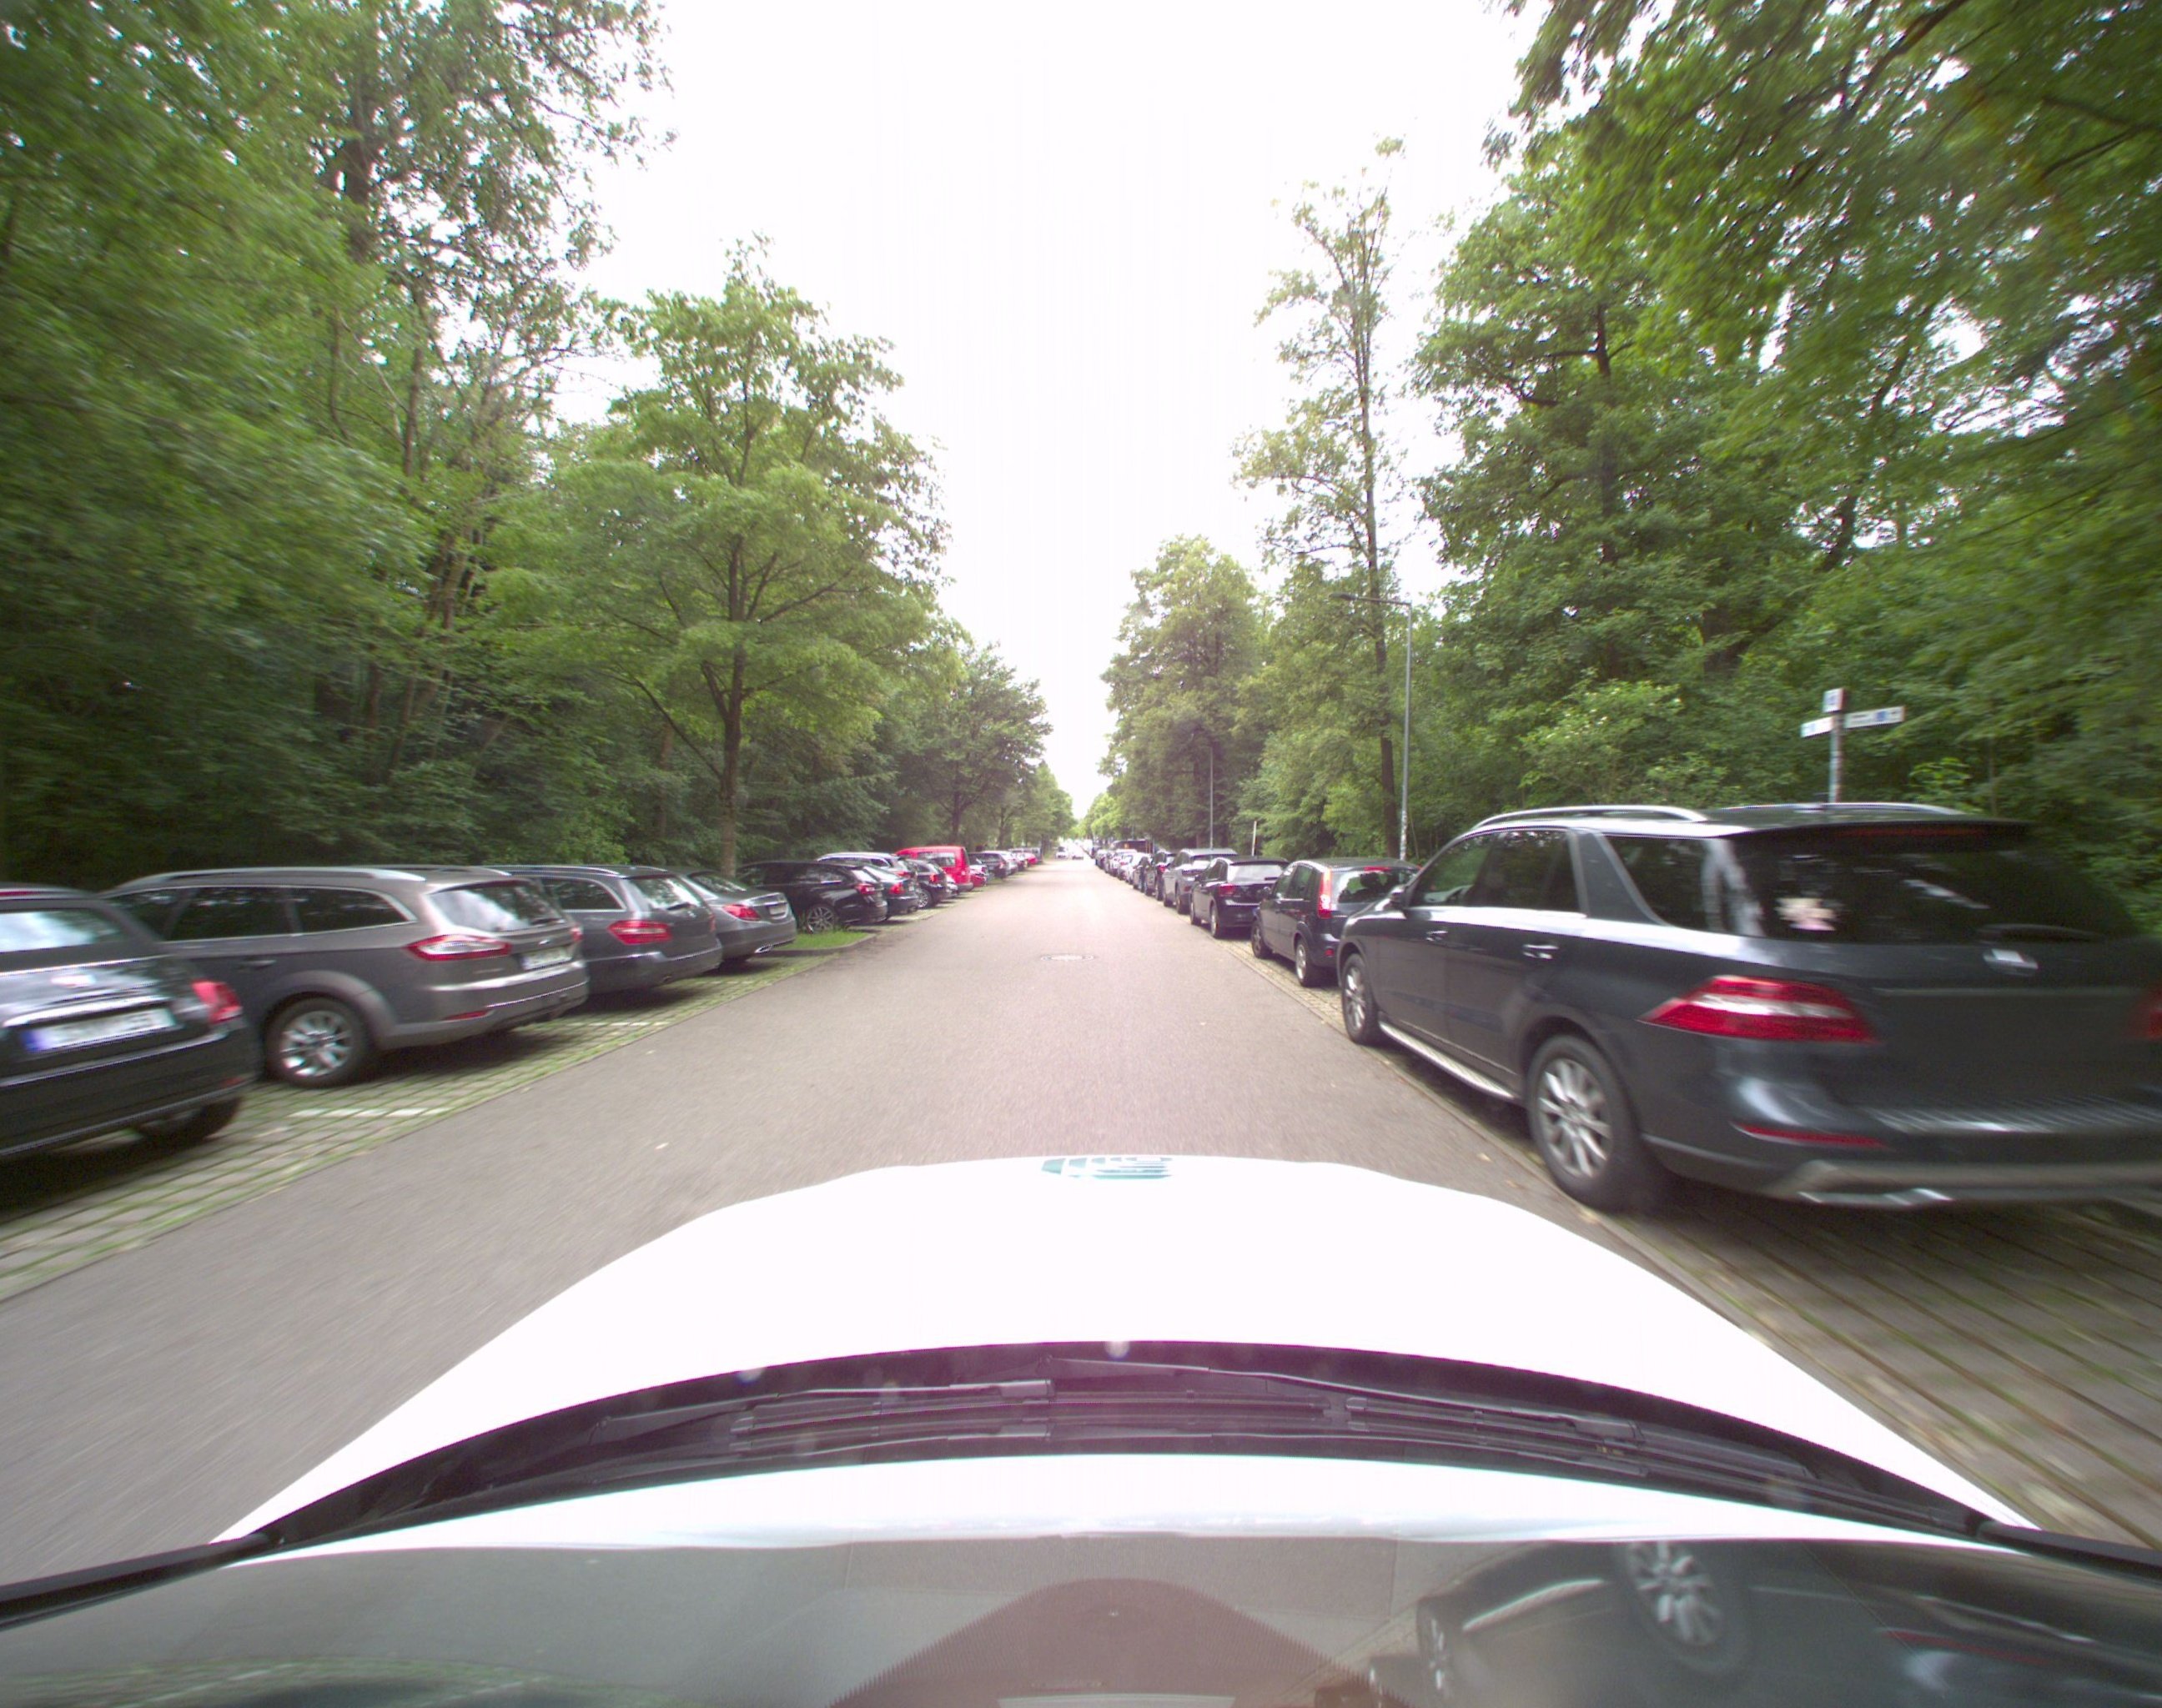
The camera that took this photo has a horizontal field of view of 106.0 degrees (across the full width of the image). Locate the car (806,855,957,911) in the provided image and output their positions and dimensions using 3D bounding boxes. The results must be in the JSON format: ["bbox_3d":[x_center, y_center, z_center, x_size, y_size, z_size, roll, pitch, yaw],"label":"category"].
[{"bbox_3d":[-5.751,0.808,23.891,3.980,1.530,1.997,-1,0,-5],"label":"car"}]

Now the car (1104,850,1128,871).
[{"bbox_3d":[2.658,0.473,63.162,1.705,1.509,4.000,0,0,0],"label":"car"}]

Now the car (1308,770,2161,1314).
[{"bbox_3d":[3.040,0.588,5.108,1.883,1.747,4.948,0,0,0],"label":"car"}]

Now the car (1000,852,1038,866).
[{"bbox_3d":[-6.155,0.463,81.157,3.580,1.361,1.820,-1,0,-13],"label":"car"}]

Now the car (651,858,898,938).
[{"bbox_3d":[-5.997,0.830,16.376,4.288,1.449,1.754,-1,0,-5],"label":"car"}]

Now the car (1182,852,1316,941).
[{"bbox_3d":[3.081,0.701,15.729,1.632,1.477,4.148,0,0,-2],"label":"car"}]

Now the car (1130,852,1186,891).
[{"bbox_3d":[2.990,0.649,32.159,1.662,1.444,3.810,0,0,-3],"label":"car"}]

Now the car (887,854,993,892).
[{"bbox_3d":[-5.778,0.776,33.731,3.974,1.474,2.115,-1,0,0],"label":"car"}]

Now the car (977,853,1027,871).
[{"bbox_3d":[-6.481,0.638,66.592,3.983,1.382,1.995,-1,0,-7],"label":"car"}]

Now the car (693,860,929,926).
[{"bbox_3d":[-6.057,0.853,18.726,4.718,1.343,1.986,-1,0,-2],"label":"car"}]

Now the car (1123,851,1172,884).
[{"bbox_3d":[3.148,0.618,39.243,1.931,1.475,3.990,0,0,-1],"label":"car"}]

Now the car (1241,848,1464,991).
[{"bbox_3d":[3.284,0.679,10.688,1.593,1.504,4.090,0,0,0],"label":"car"}]

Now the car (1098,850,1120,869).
[{"bbox_3d":[2.393,0.466,70.379,1.914,1.520,3.887,0,0,1],"label":"car"}]

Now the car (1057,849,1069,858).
[{"bbox_3d":[-2.707,-0.074,122.906,1.732,1.161,3.413,1,3,2],"label":"car"}]

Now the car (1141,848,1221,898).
[{"bbox_3d":[3.245,0.569,27.220,1.974,1.537,4.161,0,0,-3],"label":"car"}]

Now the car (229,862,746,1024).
[{"bbox_3d":[-6.121,0.863,8.852,4.097,1.480,1.996,-1,0,-1],"label":"car"}]

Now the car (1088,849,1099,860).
[{"bbox_3d":[1.865,0.068,125.325,1.623,1.415,3.410,0,3,-1],"label":"car"}]

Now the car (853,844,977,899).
[{"bbox_3d":[-5.801,0.599,28.882,3.978,1.816,2.113,-1,0,-3],"label":"car"}]

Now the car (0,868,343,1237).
[{"bbox_3d":[-6.614,0.835,3.973,4.384,1.488,1.838,0,0,2],"label":"car"}]

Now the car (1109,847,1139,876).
[{"bbox_3d":[2.668,0.436,50.924,1.705,1.728,4.000,0,0,0],"label":"car"}]

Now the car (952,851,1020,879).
[{"bbox_3d":[-5.907,0.664,50.939,3.973,1.640,1.735,-1,0,0],"label":"car"}]

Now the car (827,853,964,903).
[{"bbox_3d":[-5.911,0.745,26.335,3.975,1.530,1.999,-1,0,-1],"label":"car"}]

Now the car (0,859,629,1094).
[{"bbox_3d":[-6.212,0.834,6.494,4.079,1.523,1.928,-1,0,-3],"label":"car"}]

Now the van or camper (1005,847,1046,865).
[{"bbox_3d":[-6.329,0.208,92.734,4.481,1.868,1.910,0,3,-15],"label":"van or camper"}]

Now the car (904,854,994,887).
[{"bbox_3d":[-6.239,0.758,38.823,3.973,1.474,1.847,-1,0,0],"label":"car"}]

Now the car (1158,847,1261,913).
[{"bbox_3d":[3.258,0.603,21.583,1.972,1.537,4.620,0,0,0],"label":"car"}]

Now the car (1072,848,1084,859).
[{"bbox_3d":[-0.497,-0.041,119.312,1.686,1.415,3.153,0,3,-1],"label":"car"}]

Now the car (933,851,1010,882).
[{"bbox_3d":[-5.818,0.656,43.666,3.820,1.536,1.871,-1,0,0],"label":"car"}]

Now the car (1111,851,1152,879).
[{"bbox_3d":[2.749,0.571,45.239,1.719,1.494,3.767,0,0,-5],"label":"car"}]

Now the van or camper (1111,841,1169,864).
[{"bbox_3d":[7.992,-0.236,110.278,7.336,2.888,2.637,0,3,-15],"label":"van or camper"}]

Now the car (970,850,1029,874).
[{"bbox_3d":[-5.831,0.542,58.418,3.973,1.640,2.009,-1,0,0],"label":"car"}]

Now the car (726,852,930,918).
[{"bbox_3d":[-6.520,0.771,21.427,4.718,1.595,1.958,-1,0,-2],"label":"car"}]

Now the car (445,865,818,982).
[{"bbox_3d":[-6.076,0.904,11.400,4.094,1.431,1.965,-1,0,2],"label":"car"}]
